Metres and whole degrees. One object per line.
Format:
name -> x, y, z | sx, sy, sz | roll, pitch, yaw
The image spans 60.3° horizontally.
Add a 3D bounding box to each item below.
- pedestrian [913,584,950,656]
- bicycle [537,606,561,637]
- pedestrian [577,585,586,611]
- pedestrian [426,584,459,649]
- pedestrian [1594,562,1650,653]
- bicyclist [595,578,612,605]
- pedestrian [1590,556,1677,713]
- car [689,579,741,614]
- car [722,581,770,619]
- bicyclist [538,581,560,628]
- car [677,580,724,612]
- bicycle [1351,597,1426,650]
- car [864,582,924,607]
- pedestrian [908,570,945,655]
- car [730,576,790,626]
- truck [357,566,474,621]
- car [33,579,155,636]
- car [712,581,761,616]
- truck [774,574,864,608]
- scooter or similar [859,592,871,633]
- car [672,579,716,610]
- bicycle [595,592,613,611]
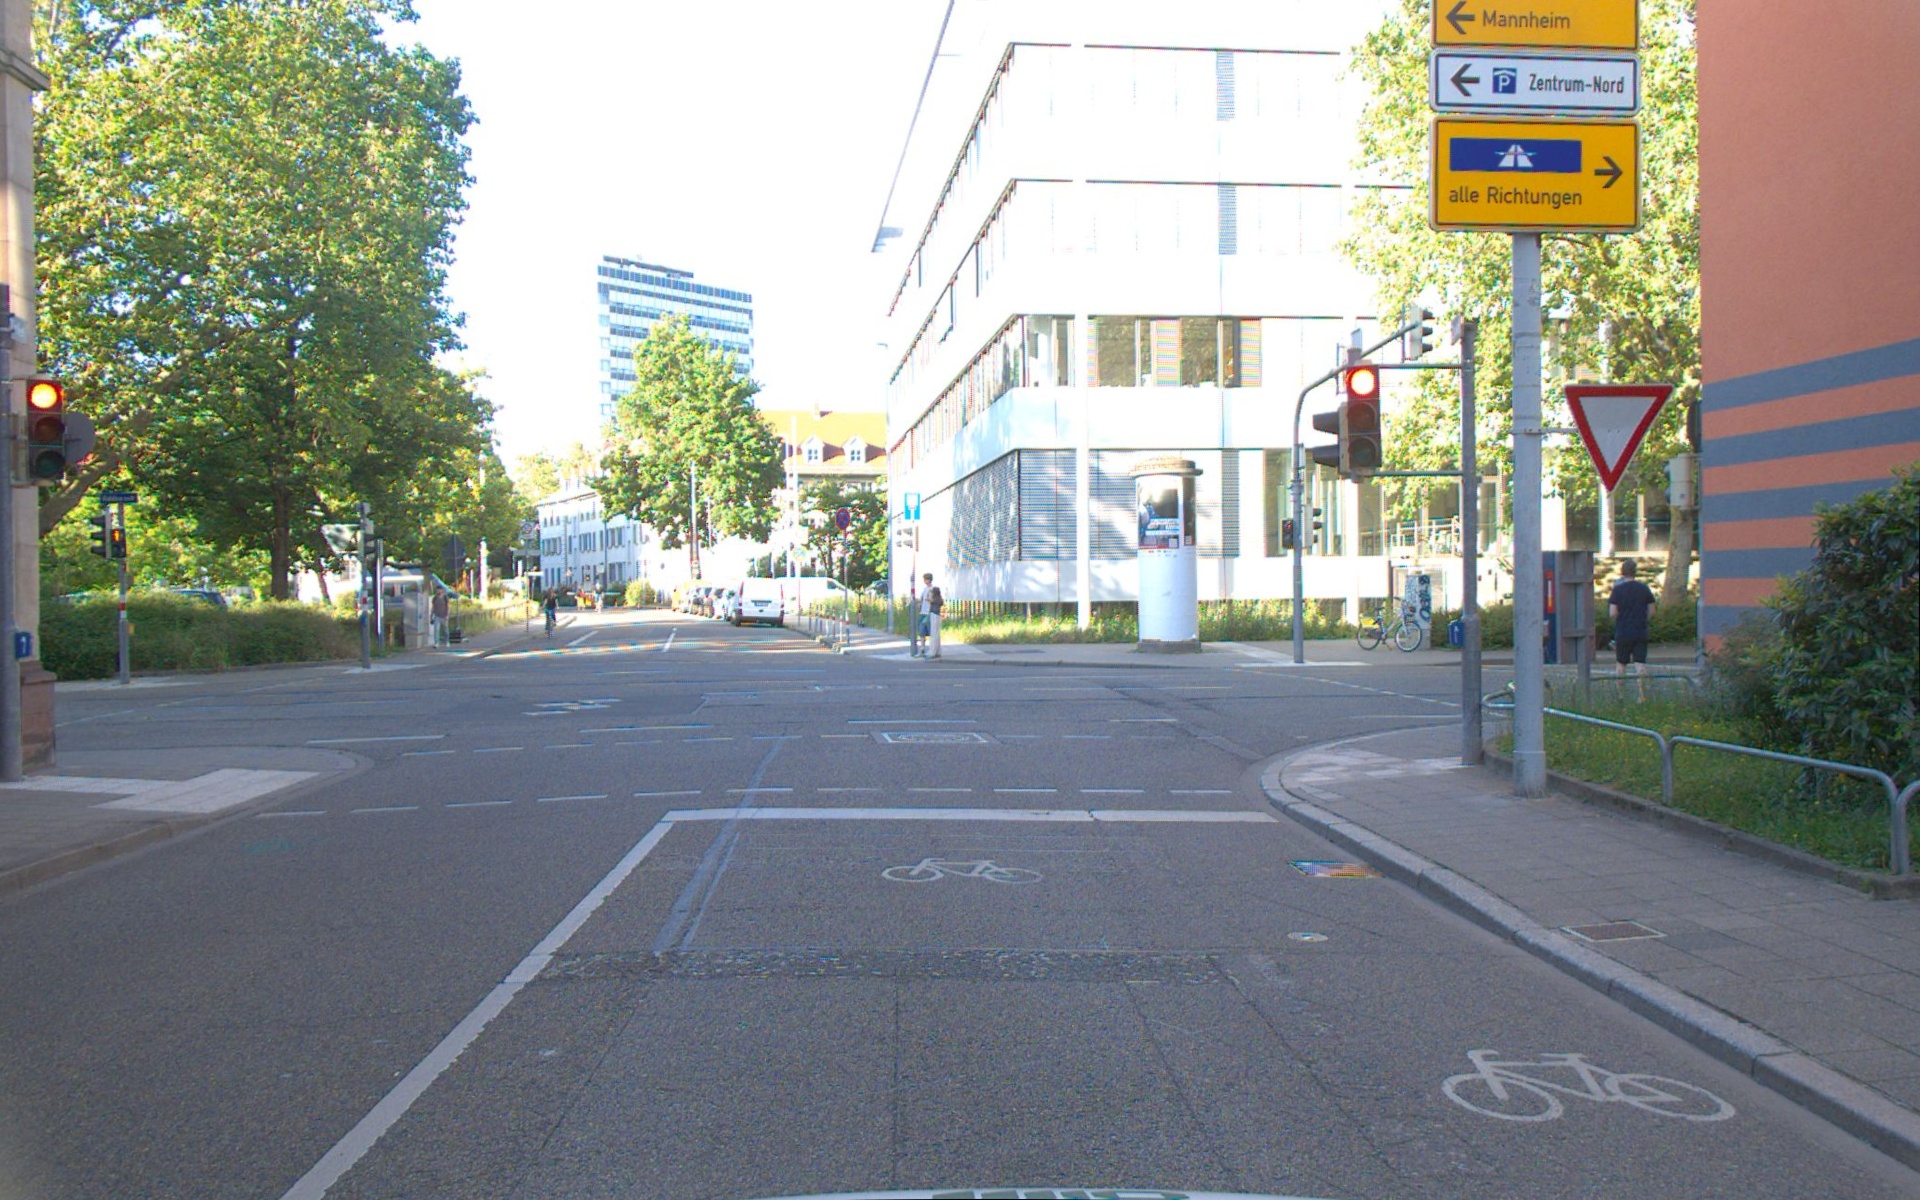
pedestrian -> -0.644, 0.438, 37.174 | 0.551, 1.567, 0.673 | -4, 1, -19
bicycle -> -13.809, 0.699, 55.615 | 0.604, 0.986, 1.837 | -1, 1, -9
pedestrian -> -24.040, -0.127, 104.921 | 0.428, 1.636, 0.488 | -1, 0, -27
pedestrian -> -14.166, 0.449, 45.287 | 0.690, 1.753, 0.952 | -2, 0, -10
pedestrian -> 13.833, 0.161, 34.580 | 0.819, 1.872, 0.707 | 1, 0, -11
bicyclist -> -20.633, -0.492, 95.818 | 0.850, 1.541, 1.016 | -3, 0, -11
pedestrian -> 8.240, 0.406, 20.272 | 0.692, 1.872, 0.837 | 1, 0, -1
car -> -12.671, -0.221, 85.358 | 1.860, 1.684, 4.391 | 0, 1, -19
car -> -9.439, -0.022, 72.787 | 1.854, 1.582, 4.404 | 0, 1, -10
bicyclist -> -13.819, 0.157, 55.625 | 0.604, 1.559, 0.901 | -1, 0, -9
car -> -14.216, -0.236, 90.480 | 1.860, 1.684, 4.391 | 0, 1, -19
bicycle -> 9.350, 0.500, 36.160 | 0.503, 1.067, 1.667 | -3, 4, -35
car -> -4.160, -0.347, 104.168 | 3.502, 1.573, 1.549 | -1, 0, -20
pedestrian -> -0.759, 0.271, 37.779 | 0.547, 1.882, 0.678 | -3, 1, 15
car -> -7.841, -0.006, 64.576 | 2.047, 1.827, 4.404 | 0, 1, -10
truck -> -24.562, -0.318, 74.746 | 4.741, 2.441, 2.082 | 0, 1, -11
car -> -39.974, 0.344, 76.430 | 4.472, 2.433, 2.069 | -2, 0, -10
car -> -10.607, -0.097, 78.141 | 1.856, 1.582, 4.400 | 0, 1, -14
truck -> -8.775, -0.561, 102.913 | 5.258, 2.049, 1.989 | -1, 0, -20
scooter or similar -> -3.363, 0.443, 58.500 | 0.324, 1.449, 1.333 | 1, 0, -6
car -> -15.344, -0.333, 95.254 | 1.860, 1.684, 4.391 | 0, 1, -19
bicycle -> -20.608, 0.075, 95.805 | 0.850, 1.027, 2.408 | -3, 1, -10
